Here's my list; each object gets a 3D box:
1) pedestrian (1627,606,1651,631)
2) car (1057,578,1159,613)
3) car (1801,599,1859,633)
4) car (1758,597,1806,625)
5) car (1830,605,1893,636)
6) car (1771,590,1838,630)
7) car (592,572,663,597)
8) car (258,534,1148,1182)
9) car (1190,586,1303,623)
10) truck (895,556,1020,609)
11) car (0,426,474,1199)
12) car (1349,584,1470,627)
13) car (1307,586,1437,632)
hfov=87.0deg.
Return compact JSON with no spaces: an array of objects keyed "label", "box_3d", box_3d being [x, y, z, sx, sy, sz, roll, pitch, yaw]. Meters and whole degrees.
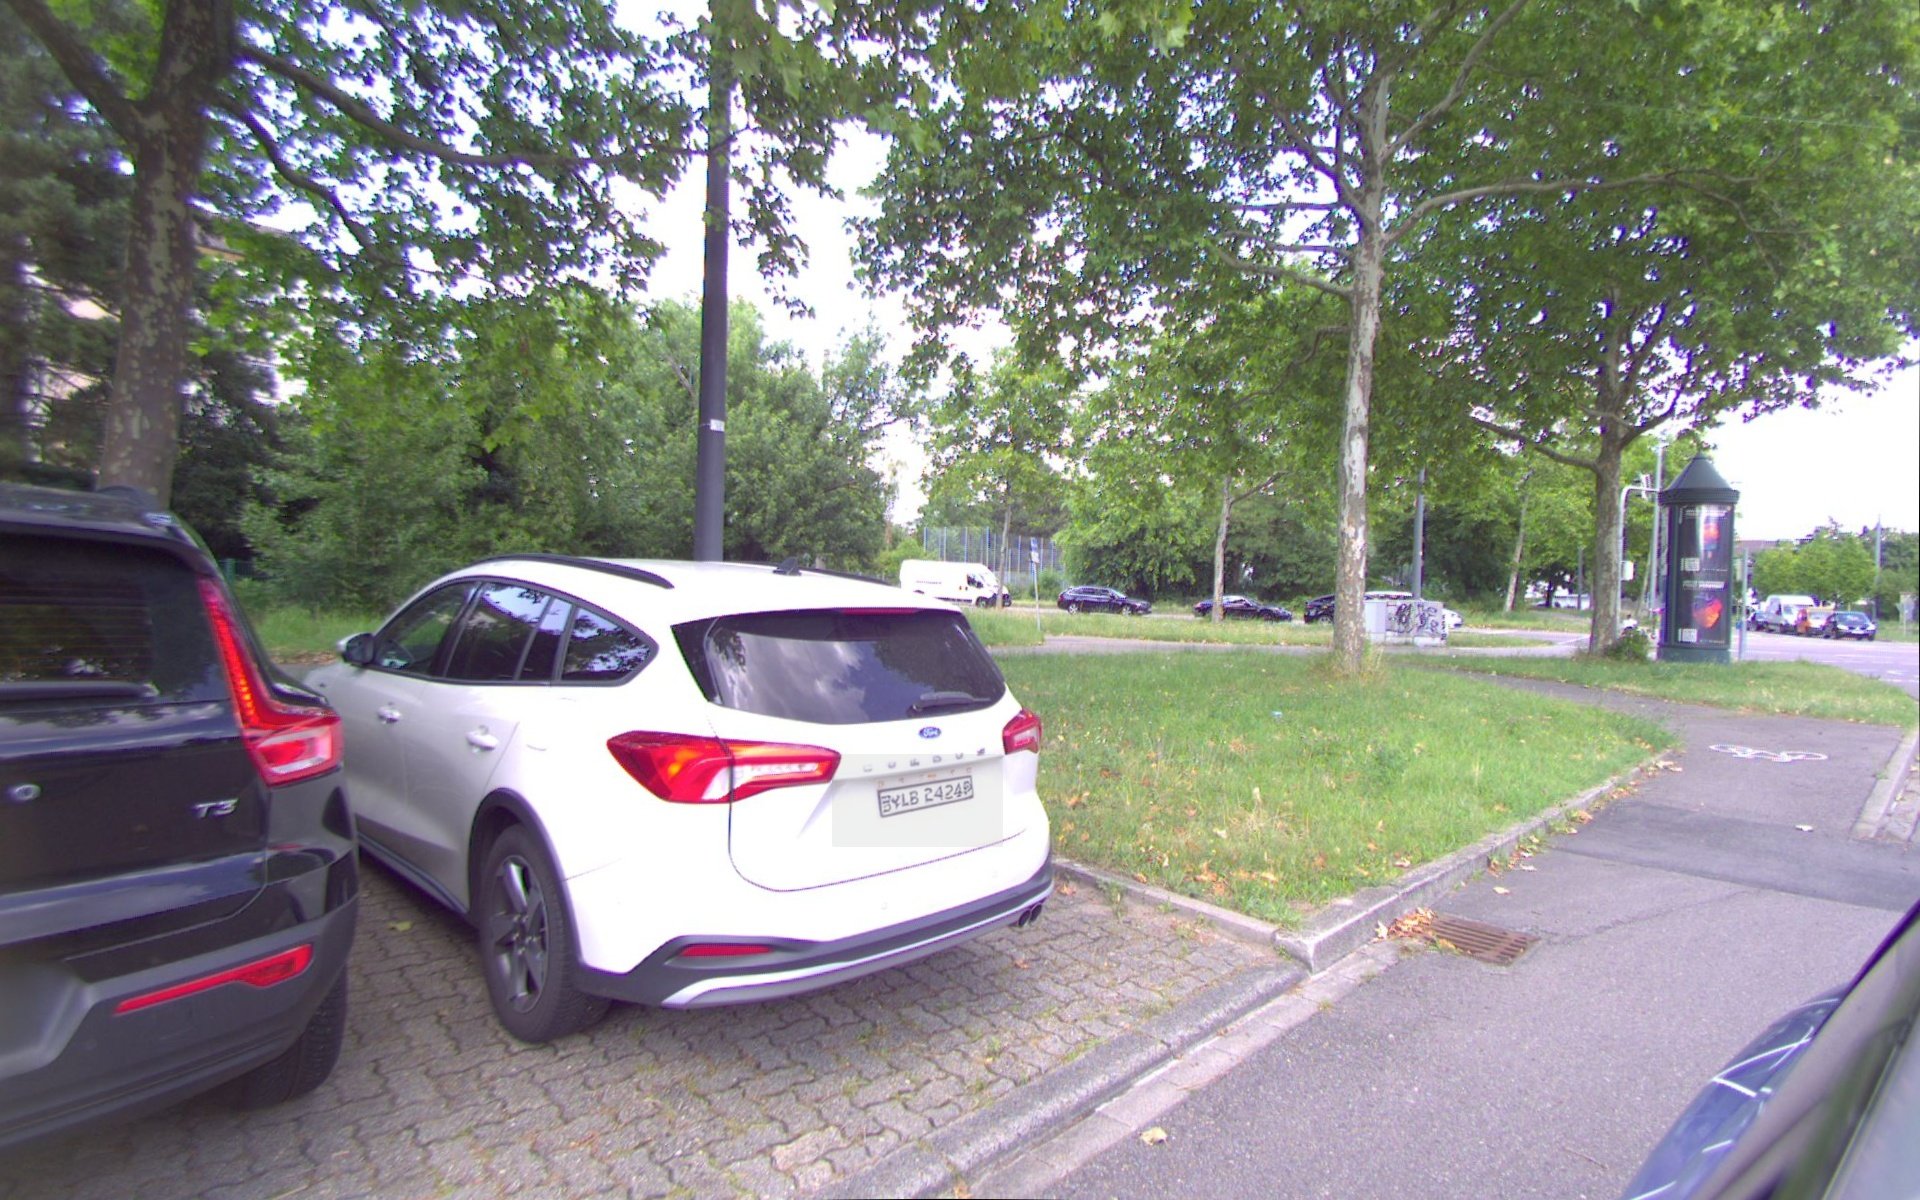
[{"label":"pedestrian","box_3d":[29.105,0.791,43.387,0.716,1.047,0.893,2,1,28]},{"label":"car","box_3d":[7.312,-0.240,50.069,4.644,1.532,1.981,2,2,28]},{"label":"car","box_3d":[53.304,0.945,62.083,1.780,1.959,4.324,1,1,29]},{"label":"car","box_3d":[59.071,0.752,72.788,1.780,1.959,4.326,1,1,28]},{"label":"car","box_3d":[50.466,1.119,56.749,1.781,1.558,3.958,1,1,29]},{"label":"car","box_3d":[56.443,0.610,67.754,2.219,2.538,5.670,1,1,28]},{"label":"car","box_3d":[-22.689,-1.070,69.033,4.644,1.532,1.981,2,2,28]},{"label":"car","box_3d":[-1.625,0.502,4.656,1.818,1.492,4.662,1,2,-45]},{"label":"car","box_3d":[13.180,0.160,46.598,4.706,1.487,1.981,2,2,28]},{"label":"truck","box_3d":[-0.182,-0.973,54.629,6.452,2.628,2.194,2,1,29]},{"label":"car","box_3d":[-3.349,0.418,3.185,1.818,1.646,4.662,1,2,-45]},{"label":"car","box_3d":[19.342,0.210,43.572,4.644,1.630,1.981,2,2,28]},{"label":"car","box_3d":[16.617,0.322,40.856,4.645,1.630,1.980,2,2,29]}]
